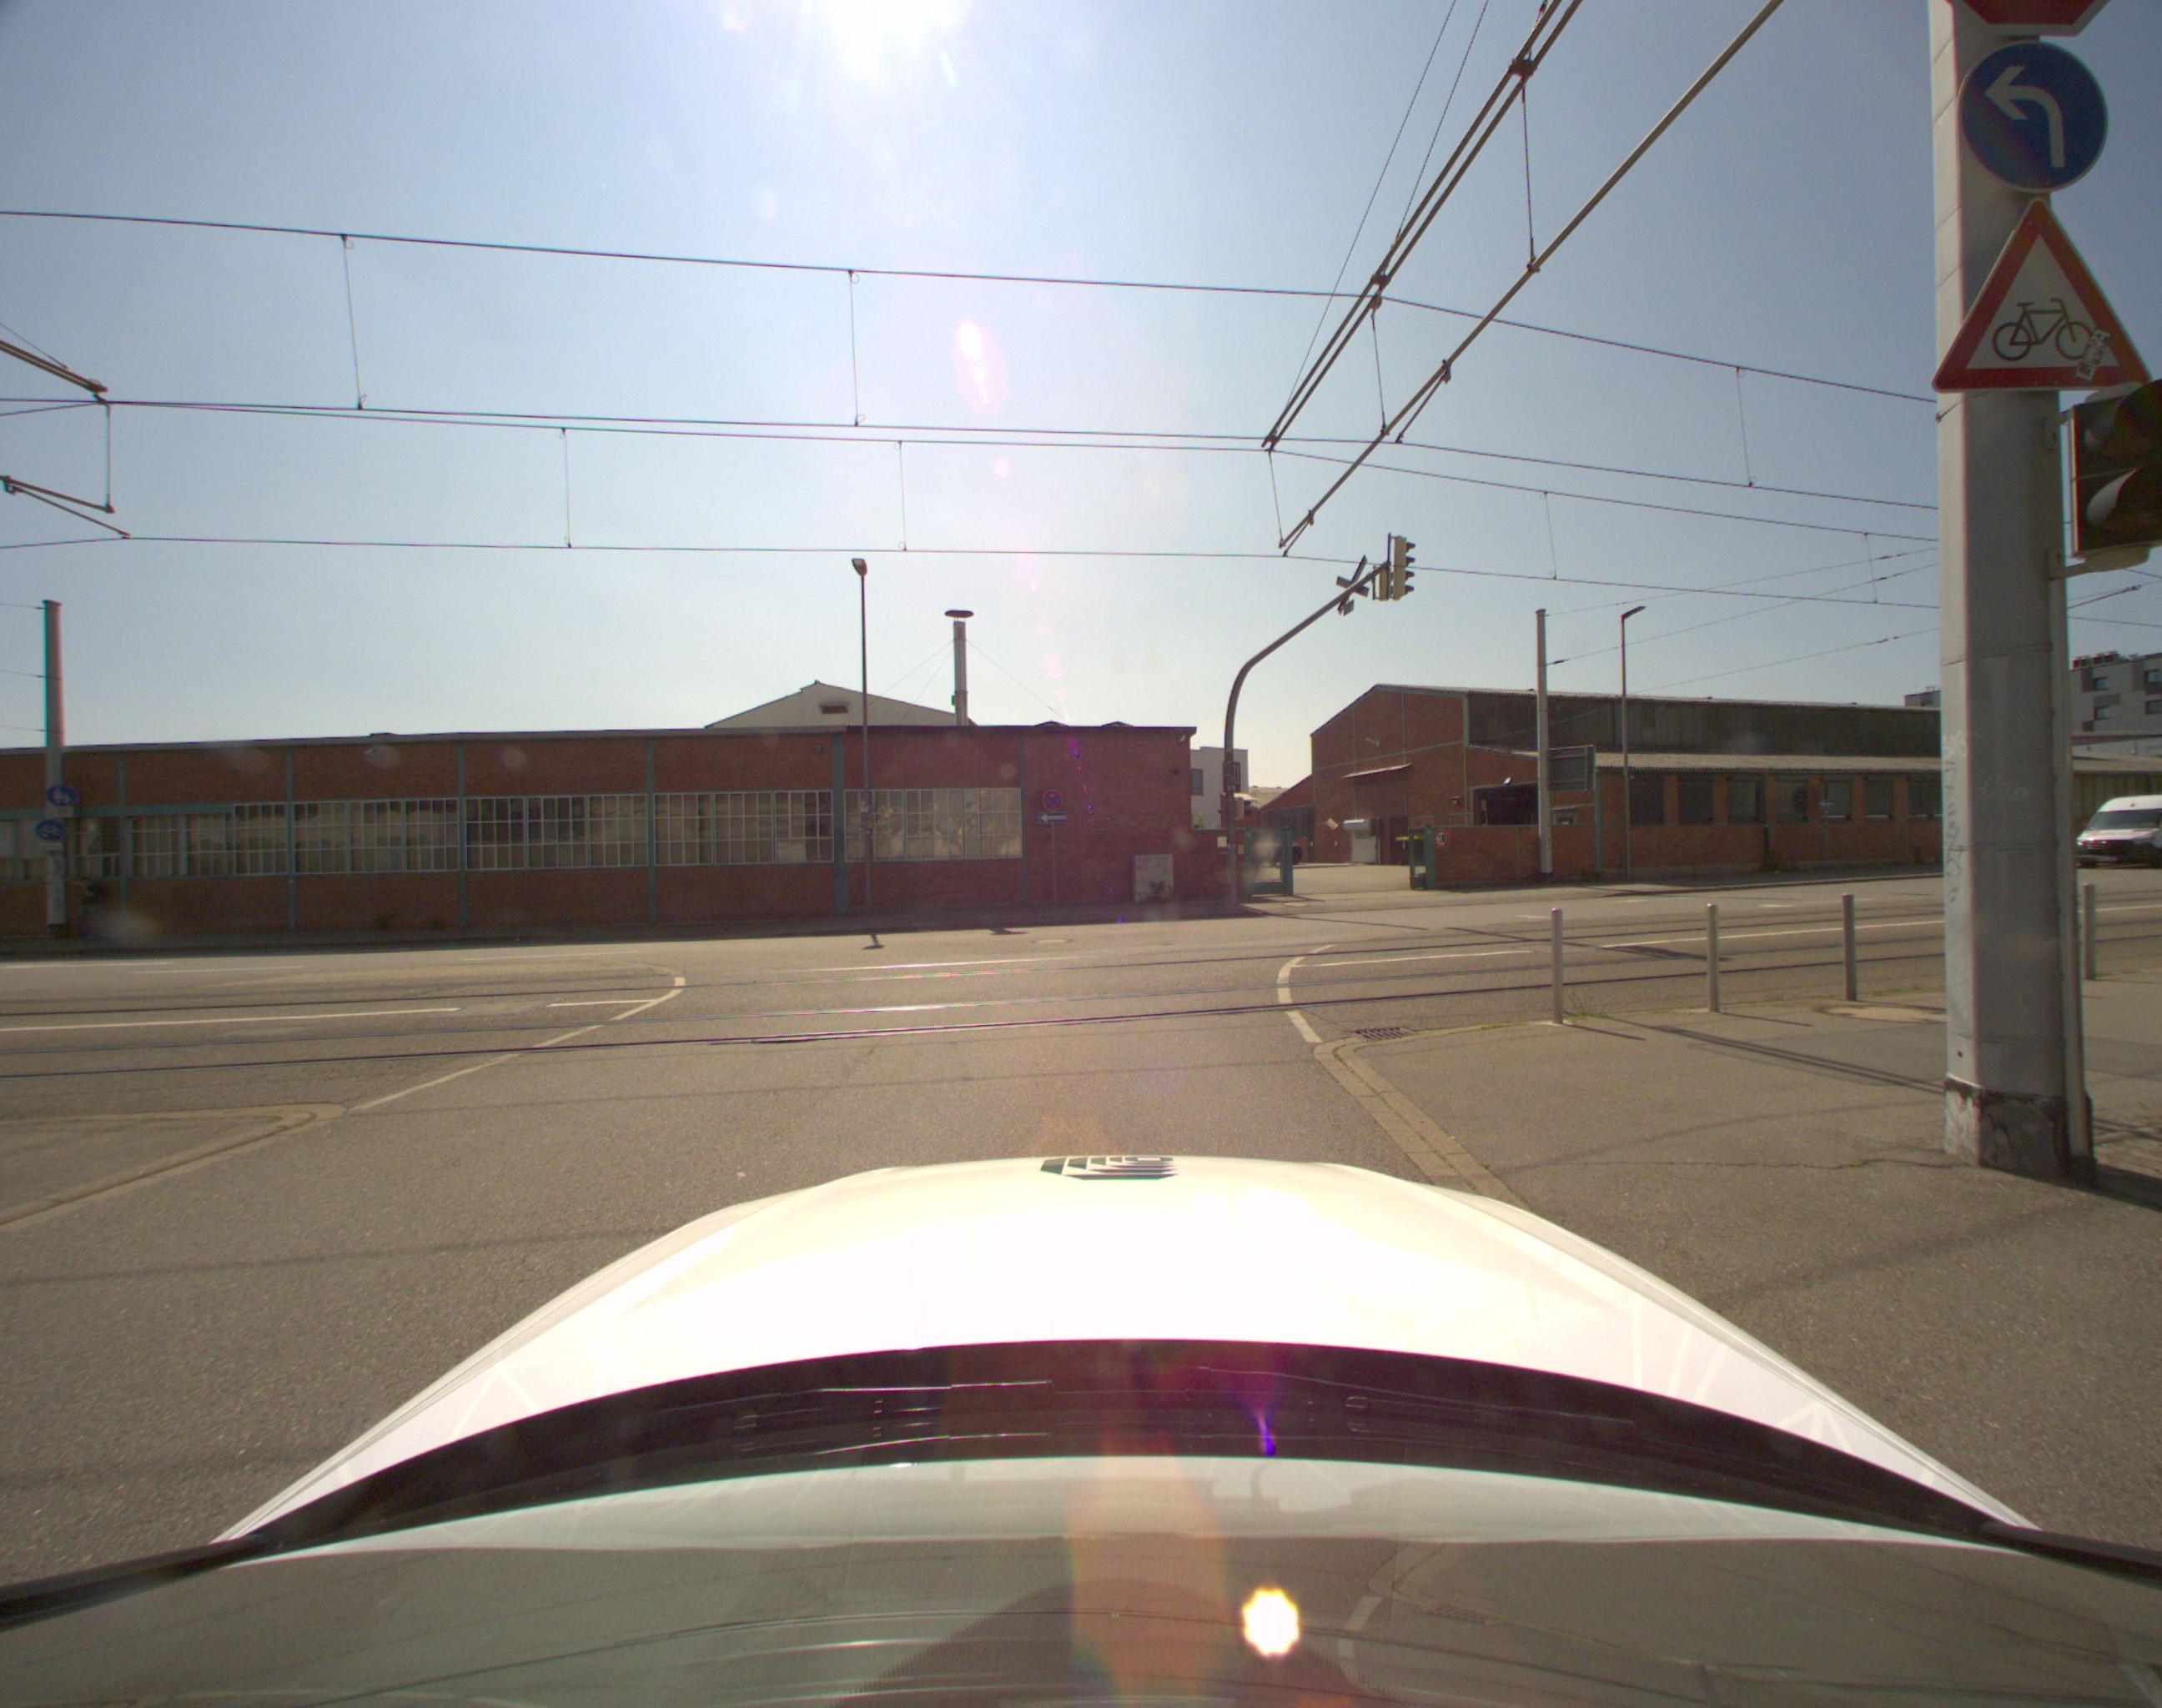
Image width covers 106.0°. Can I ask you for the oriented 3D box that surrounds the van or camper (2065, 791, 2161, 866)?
[{"bbox_3d":[38.868,-0.957,29.450,5.862,2.534,2.033,-2,0,-16],"label":"van or camper"}]

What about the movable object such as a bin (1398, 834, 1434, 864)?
[{"bbox_3d":[15.114,-0.224,36.780,0.976,1.314,1.146,-3,0,-14],"label":"movable object such as a bin"}]

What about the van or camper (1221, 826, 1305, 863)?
[{"bbox_3d":[9.980,-0.482,44.530,4.438,1.900,1.979,1,0,-34],"label":"van or camper"}]

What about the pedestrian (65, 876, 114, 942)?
[{"bbox_3d":[-27.094,1.486,22.254,0.445,1.765,0.688,0,-1,11],"label":"pedestrian"}]
